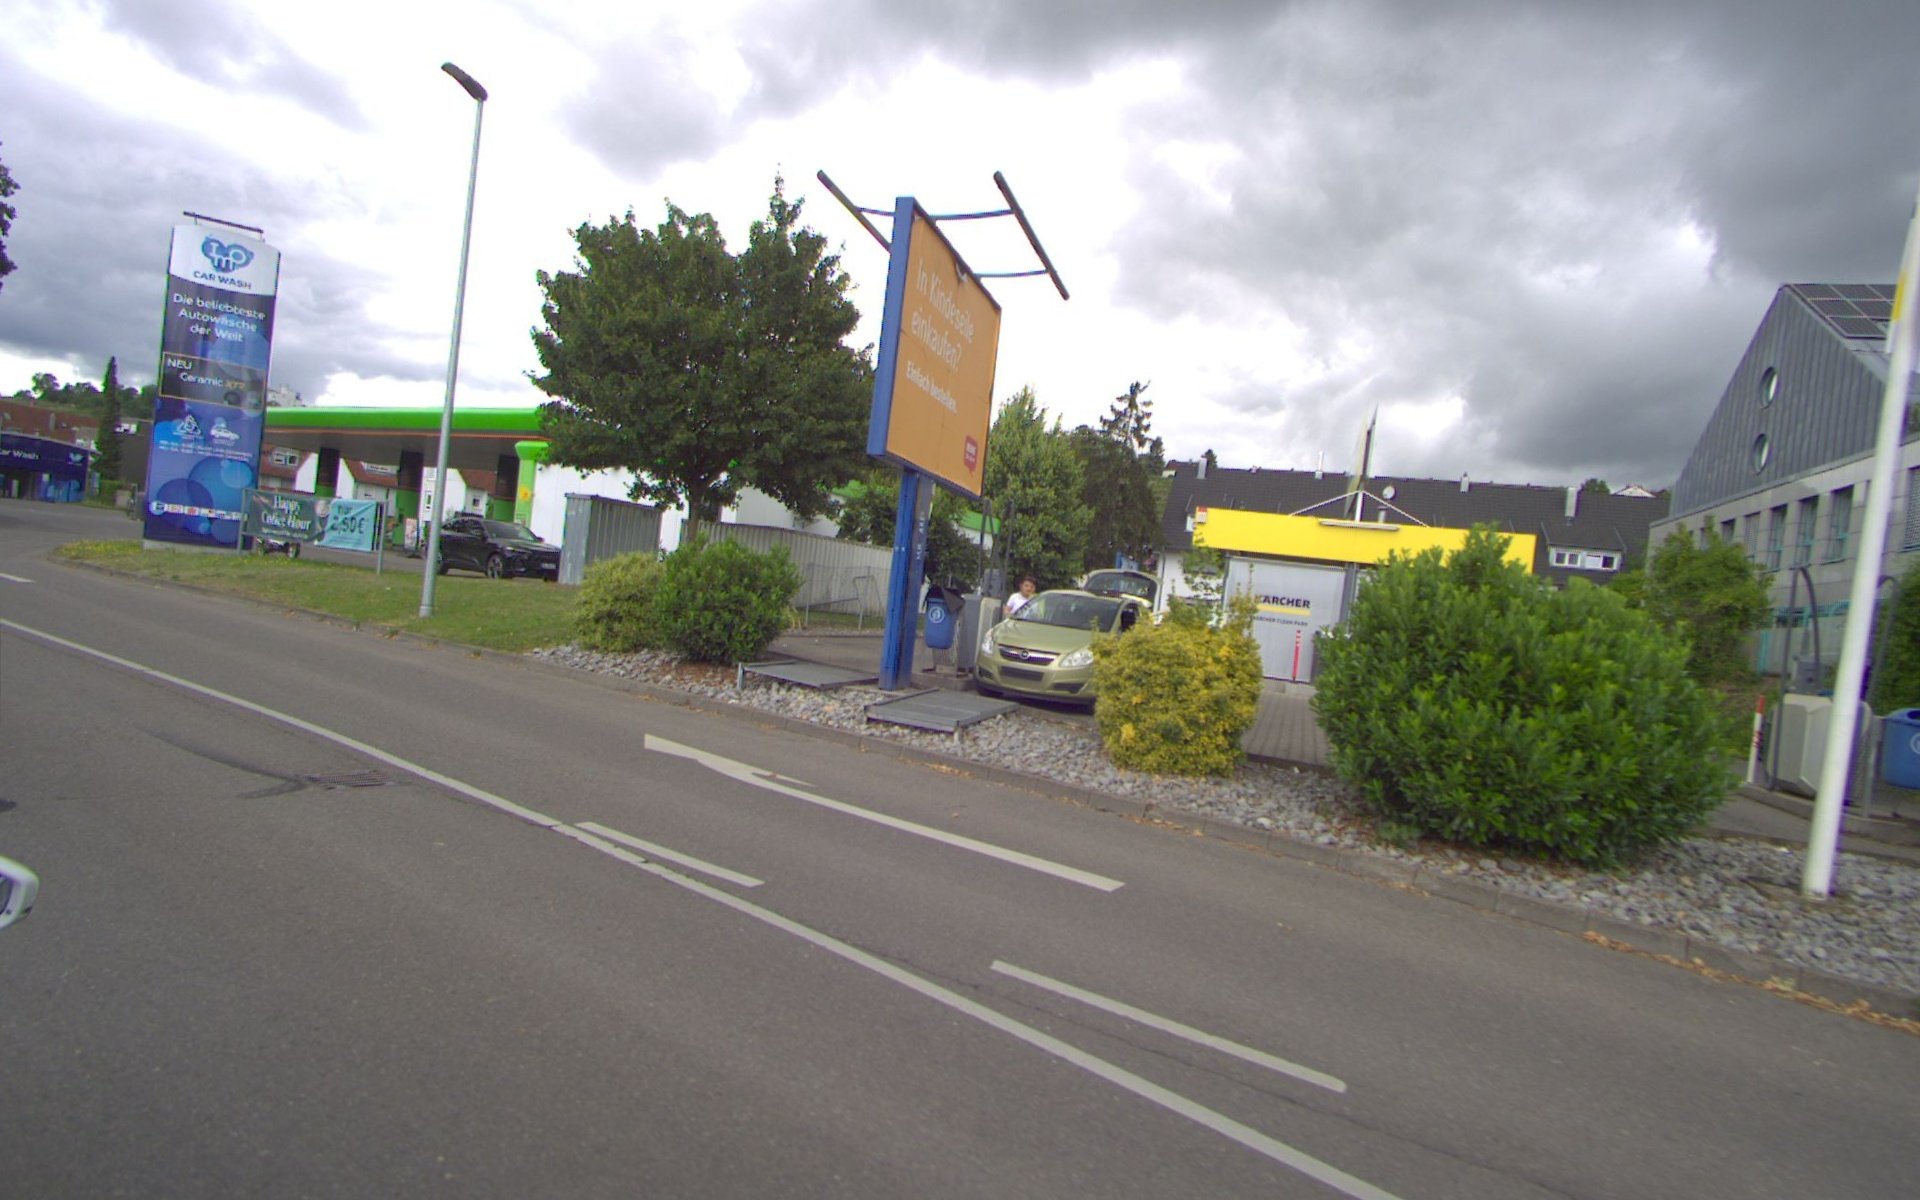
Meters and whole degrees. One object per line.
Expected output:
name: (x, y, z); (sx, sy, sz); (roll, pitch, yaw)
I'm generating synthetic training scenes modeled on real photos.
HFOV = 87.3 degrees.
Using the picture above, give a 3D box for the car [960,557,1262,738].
car: (2.173, 0.584, 13.211); (2.892, 1.676, 4.028); (7, 0, 23)

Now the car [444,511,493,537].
car: (-40.447, -6.264, 82.705); (3.934, 1.705, 1.691); (7, 1, 32)

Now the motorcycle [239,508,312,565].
motorcycle: (-19.004, -1.770, 27.922); (1.957, 1.348, 0.856); (7, 1, 32)

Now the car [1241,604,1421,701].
car: (8.189, 1.141, 22.502); (3.463, 1.660, 1.632); (7, 1, 15)

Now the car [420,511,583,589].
car: (-12.328, -1.351, 26.978); (4.266, 1.697, 1.821); (6, 2, 32)

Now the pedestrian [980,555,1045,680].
pedestrian: (0.757, 0.249, 14.351); (0.575, 1.692, 0.633); (7, 1, 22)
